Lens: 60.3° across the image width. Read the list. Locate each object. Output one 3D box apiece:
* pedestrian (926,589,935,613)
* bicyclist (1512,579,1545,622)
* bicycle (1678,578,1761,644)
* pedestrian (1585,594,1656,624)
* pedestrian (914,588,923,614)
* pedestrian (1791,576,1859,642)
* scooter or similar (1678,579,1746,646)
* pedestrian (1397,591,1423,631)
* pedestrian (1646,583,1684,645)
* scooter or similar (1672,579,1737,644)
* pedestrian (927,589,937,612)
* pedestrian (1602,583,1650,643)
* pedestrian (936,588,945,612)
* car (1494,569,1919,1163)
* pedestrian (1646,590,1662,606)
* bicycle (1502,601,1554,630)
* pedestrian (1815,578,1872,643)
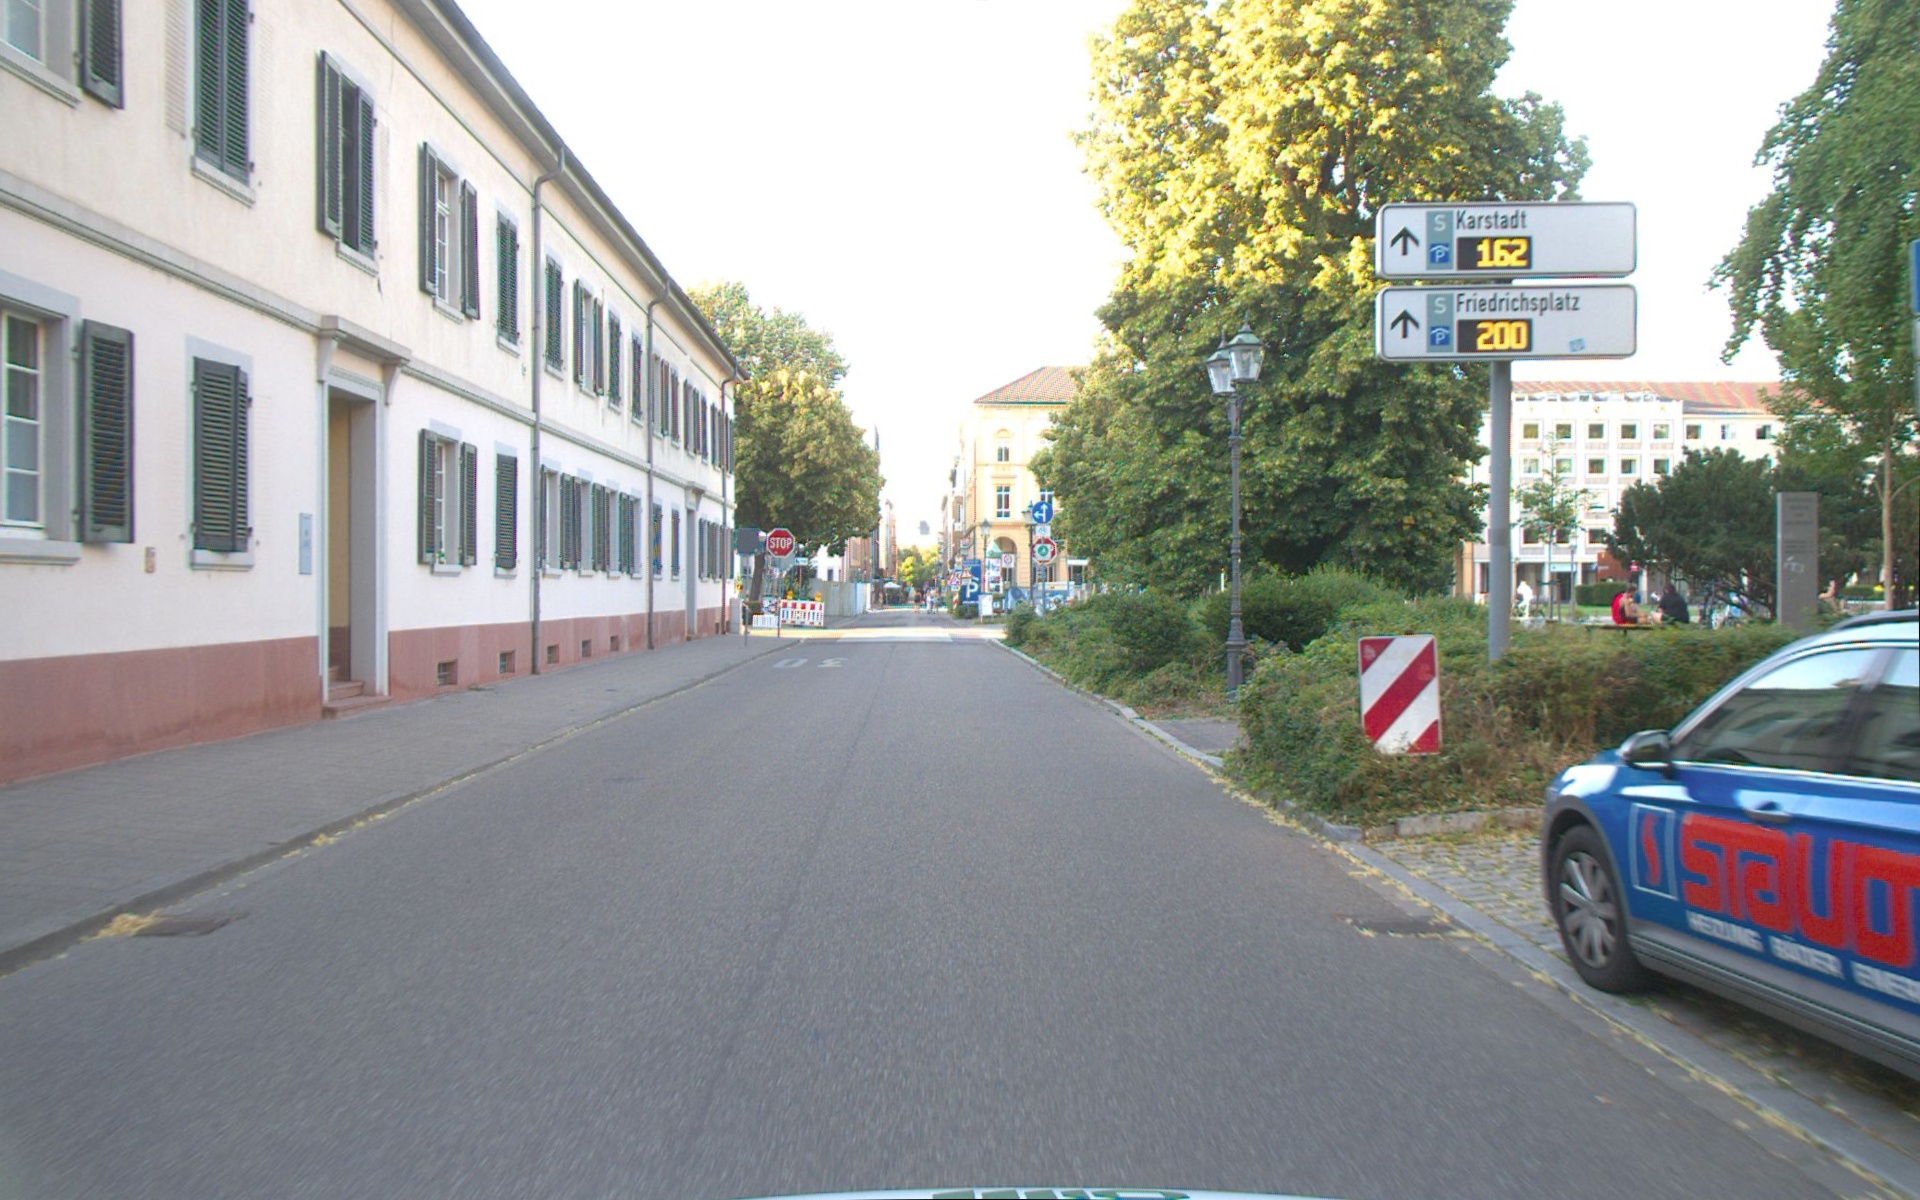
[{"bbox_3d":[-2.071,0.048,115.605,0.644,1.645,0.745,0,0,-1],"label":"pedestrian"},{"bbox_3d":[22.220,0.025,64.639,1.041,1.661,0.595,0,0,-8],"label":"bicyclist"},{"bbox_3d":[15.586,0.214,34.000,0.607,1.322,2.016,-1,0,-6],"label":"bicycle"},{"bbox_3d":[13.253,0.178,33.214,0.532,0.559,1.369,-4,1,-20],"label":"pedestrian"},{"bbox_3d":[-2.925,0.056,117.135,0.644,1.790,0.745,0,0,-1],"label":"pedestrian"},{"bbox_3d":[18.286,0.188,34.977,0.902,1.371,0.881,-1,0,-17],"label":"pedestrian"},{"bbox_3d":[14.582,0.233,32.076,1.196,1.267,0.417,-1,0,-15],"label":"scooter or similar"},{"bbox_3d":[15.375,0.369,56.522,0.585,1.365,0.817,0,0,-7],"label":"pedestrian"},{"bbox_3d":[13.923,0.270,32.656,0.649,1.212,0.794,-1,0,26],"label":"pedestrian"},{"bbox_3d":[14.719,0.224,32.696,1.197,1.267,0.416,-1,0,-18],"label":"scooter or similar"},{"bbox_3d":[-2.005,0.049,117.898,0.644,1.664,0.745,0,0,-1],"label":"pedestrian"},{"bbox_3d":[13.690,0.260,34.012,0.707,1.212,0.747,-1,0,2],"label":"pedestrian"},{"bbox_3d":[-1.367,-0.007,115.618,0.644,1.645,0.745,0,0,-1],"label":"pedestrian"},{"bbox_3d":[3.333,0.688,4.962,1.690,1.514,4.608,-4,0,-3],"label":"car"},{"bbox_3d":[45.748,-0.127,109.082,0.877,1.096,0.622,-1,0,16],"label":"pedestrian"},{"bbox_3d":[22.193,0.597,64.641,1.891,1.141,0.595,0,0,-9],"label":"bicycle"},{"bbox_3d":[19.003,0.214,35.592,0.747,1.371,0.784,-1,0,-18],"label":"pedestrian"}]
